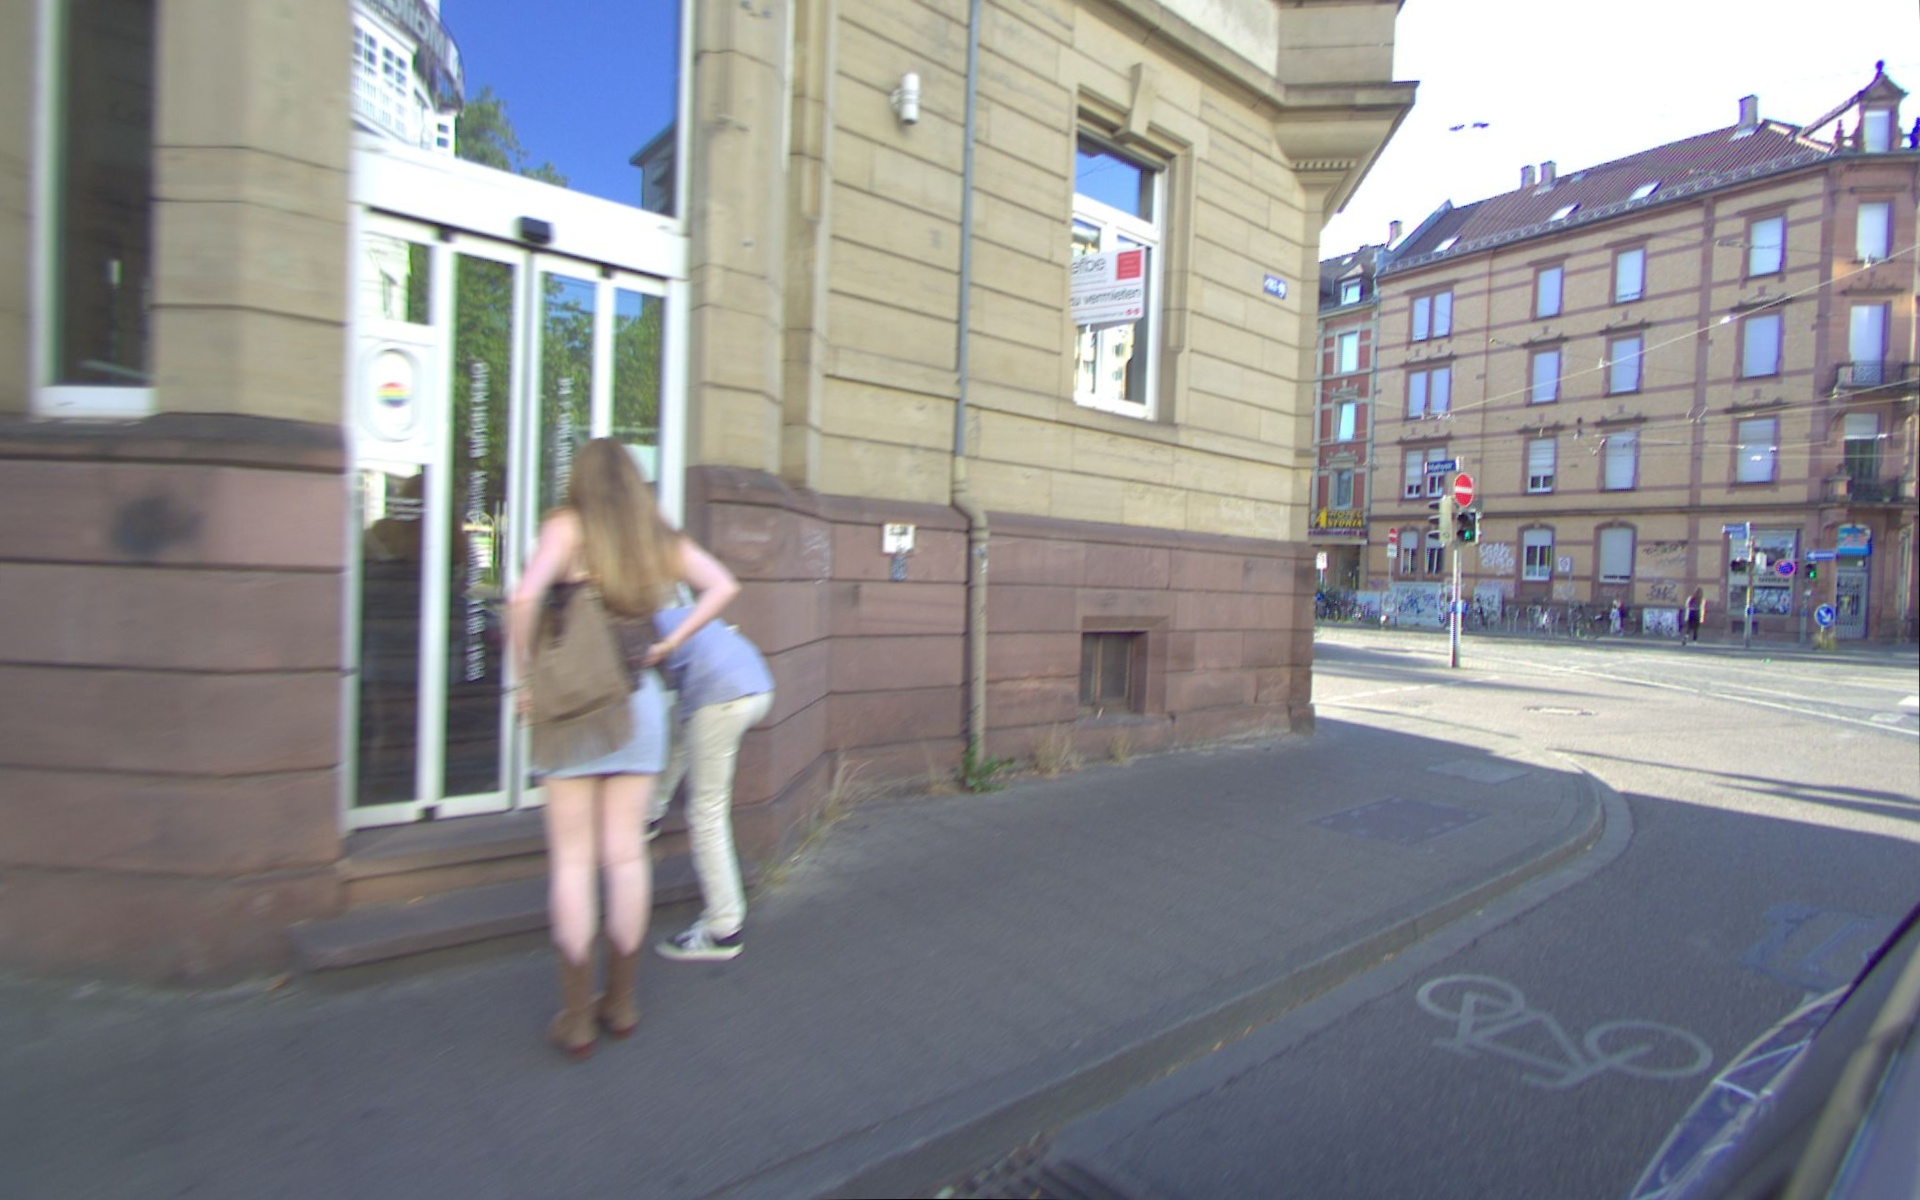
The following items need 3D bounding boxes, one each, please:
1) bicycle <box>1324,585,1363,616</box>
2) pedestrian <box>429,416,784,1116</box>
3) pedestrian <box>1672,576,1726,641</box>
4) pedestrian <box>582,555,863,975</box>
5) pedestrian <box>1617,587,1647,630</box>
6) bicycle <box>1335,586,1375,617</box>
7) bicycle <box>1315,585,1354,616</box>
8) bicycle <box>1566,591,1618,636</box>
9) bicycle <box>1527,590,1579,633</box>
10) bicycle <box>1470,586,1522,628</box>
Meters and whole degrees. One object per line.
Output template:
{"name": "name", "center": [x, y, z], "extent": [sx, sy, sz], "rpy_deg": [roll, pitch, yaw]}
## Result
{"name": "bicycle", "center": [15.249, 0.023, 40.289], "extent": [0.489, 1.121, 1.805], "rpy_deg": [2, 2, -14]}
{"name": "pedestrian", "center": [-1.074, 0.384, 3.017], "extent": [0.707, 1.741, 0.796], "rpy_deg": [0, 5, -42]}
{"name": "pedestrian", "center": [21.840, 0.234, 29.905], "extent": [1.065, 1.829, 1.024], "rpy_deg": [1, 3, -43]}
{"name": "pedestrian", "center": [-0.920, 0.535, 3.860], "extent": [0.707, 1.347, 0.796], "rpy_deg": [0, 5, -42]}
{"name": "pedestrian", "center": [26.151, 0.334, 39.380], "extent": [0.749, 1.589, 0.745], "rpy_deg": [-3, 4, -33]}
{"name": "bicycle", "center": [15.754, 0.033, 40.449], "extent": [0.489, 1.121, 1.805], "rpy_deg": [2, 2, -14]}
{"name": "bicycle", "center": [14.864, 0.004, 40.207], "extent": [0.489, 1.121, 1.805], "rpy_deg": [2, 2, -14]}
{"name": "bicycle", "center": [20.949, 0.452, 33.517], "extent": [1.800, 1.279, 0.757], "rpy_deg": [6, 0, -36]}
{"name": "bicycle", "center": [20.346, 0.404, 34.705], "extent": [1.930, 1.279, 0.757], "rpy_deg": [6, 0, -36]}
{"name": "bicycle", "center": [19.127, 0.258, 36.093], "extent": [1.930, 1.279, 0.757], "rpy_deg": [6, 0, -36]}
